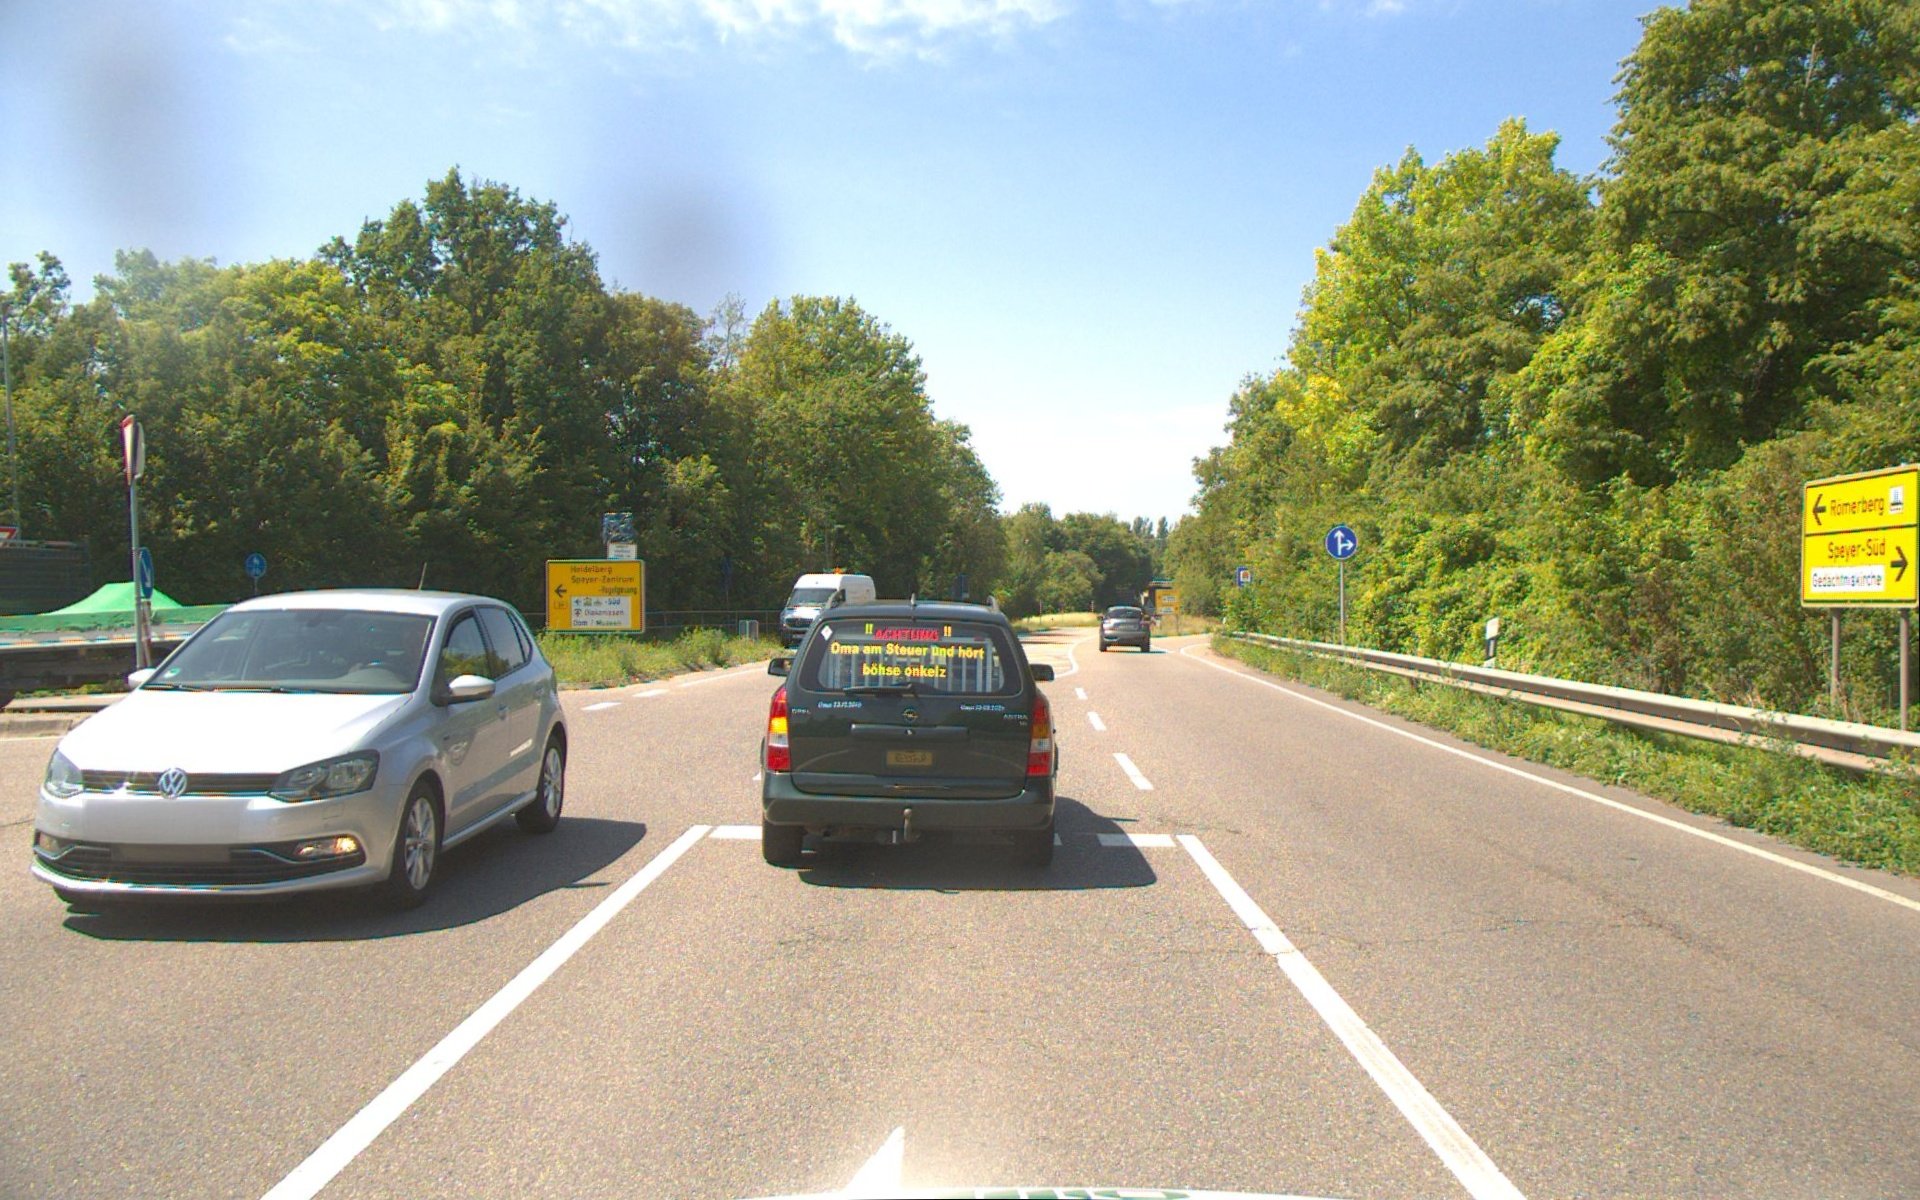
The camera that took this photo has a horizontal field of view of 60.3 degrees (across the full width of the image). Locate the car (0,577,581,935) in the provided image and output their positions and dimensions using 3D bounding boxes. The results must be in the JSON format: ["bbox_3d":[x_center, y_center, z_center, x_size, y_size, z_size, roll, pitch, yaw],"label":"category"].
[{"bbox_3d":[-3.227,0.641,8.636,1.611,1.443,3.766,1,0,0],"label":"car"}]

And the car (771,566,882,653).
[{"bbox_3d":[-4.679,0.330,59.089,2.060,2.900,6.016,0,0,14],"label":"car"}]

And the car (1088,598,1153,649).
[{"bbox_3d":[5.626,0.790,58.357,1.806,1.714,3.999,0,1,-1],"label":"car"}]

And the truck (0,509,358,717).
[{"bbox_3d":[-11.989,0.251,23.245,6.476,2.610,2.147,-2,-1,14],"label":"truck"}]

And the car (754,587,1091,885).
[{"bbox_3d":[-0.293,0.673,10.243,1.686,1.482,3.795,1,1,-3],"label":"car"}]

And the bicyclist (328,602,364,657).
[{"bbox_3d":[-15.676,0.744,42.224,0.675,1.387,0.607,0,0,34],"label":"bicyclist"}]

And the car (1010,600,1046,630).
[{"bbox_3d":[7.566,1.648,185.217,1.970,3.282,4.766,0,0,-27],"label":"car"}]

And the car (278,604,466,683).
[{"bbox_3d":[-13.484,0.951,38.146,1.641,1.691,3.992,0,0,30],"label":"car"}]
